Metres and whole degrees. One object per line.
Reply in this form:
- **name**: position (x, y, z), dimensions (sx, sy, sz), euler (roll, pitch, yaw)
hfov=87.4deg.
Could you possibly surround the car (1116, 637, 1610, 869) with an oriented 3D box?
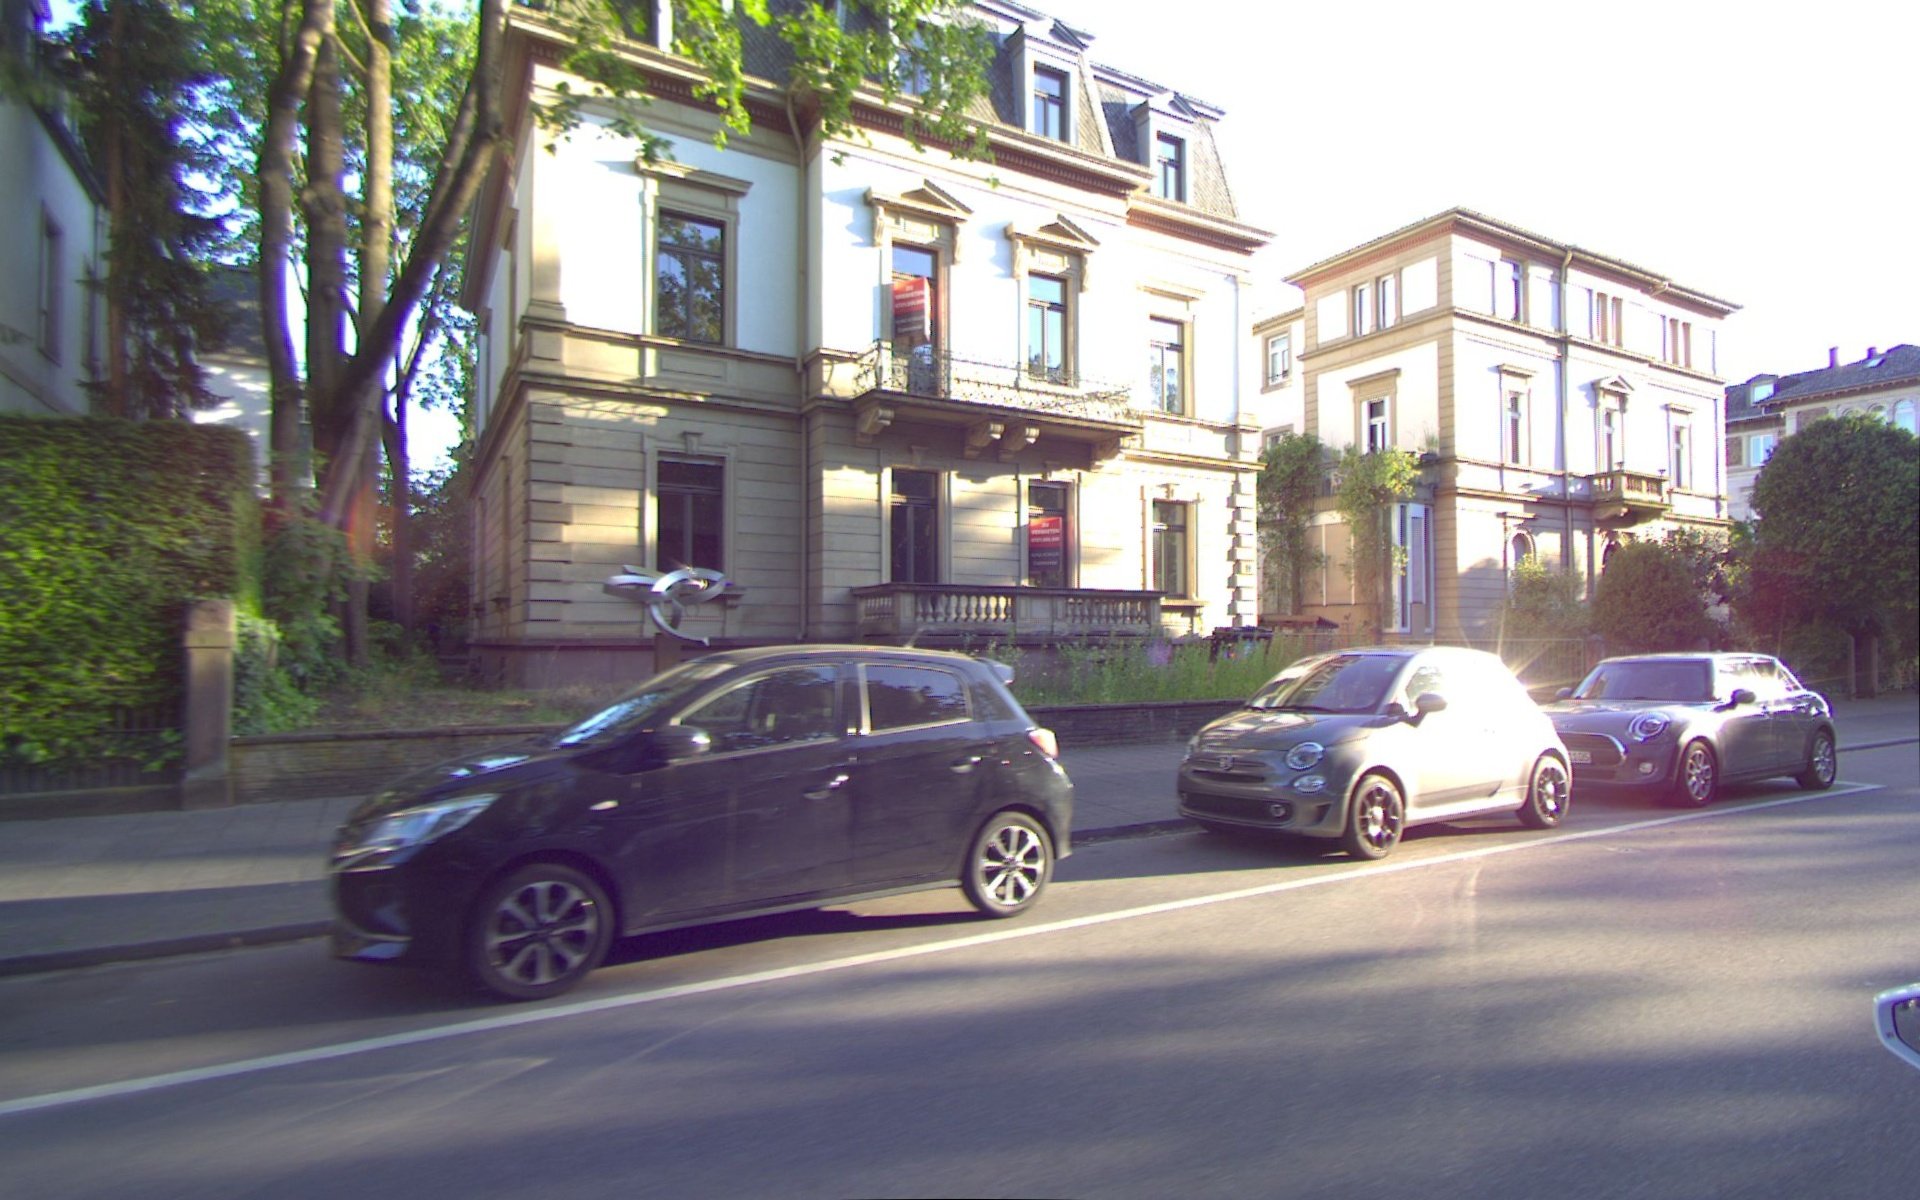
- **car**: position (3.335, 1.059, 8.154), dimensions (3.988, 1.485, 1.606), euler (1, -3, -30)

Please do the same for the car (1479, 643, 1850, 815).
- **car**: position (7.367, 1.200, 10.431), dimensions (3.988, 1.485, 1.606), euler (1, -3, -30)

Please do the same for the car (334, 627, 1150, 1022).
- **car**: position (-1.034, 0.960, 5.532), dimensions (3.988, 1.485, 1.607), euler (1, -5, -30)
